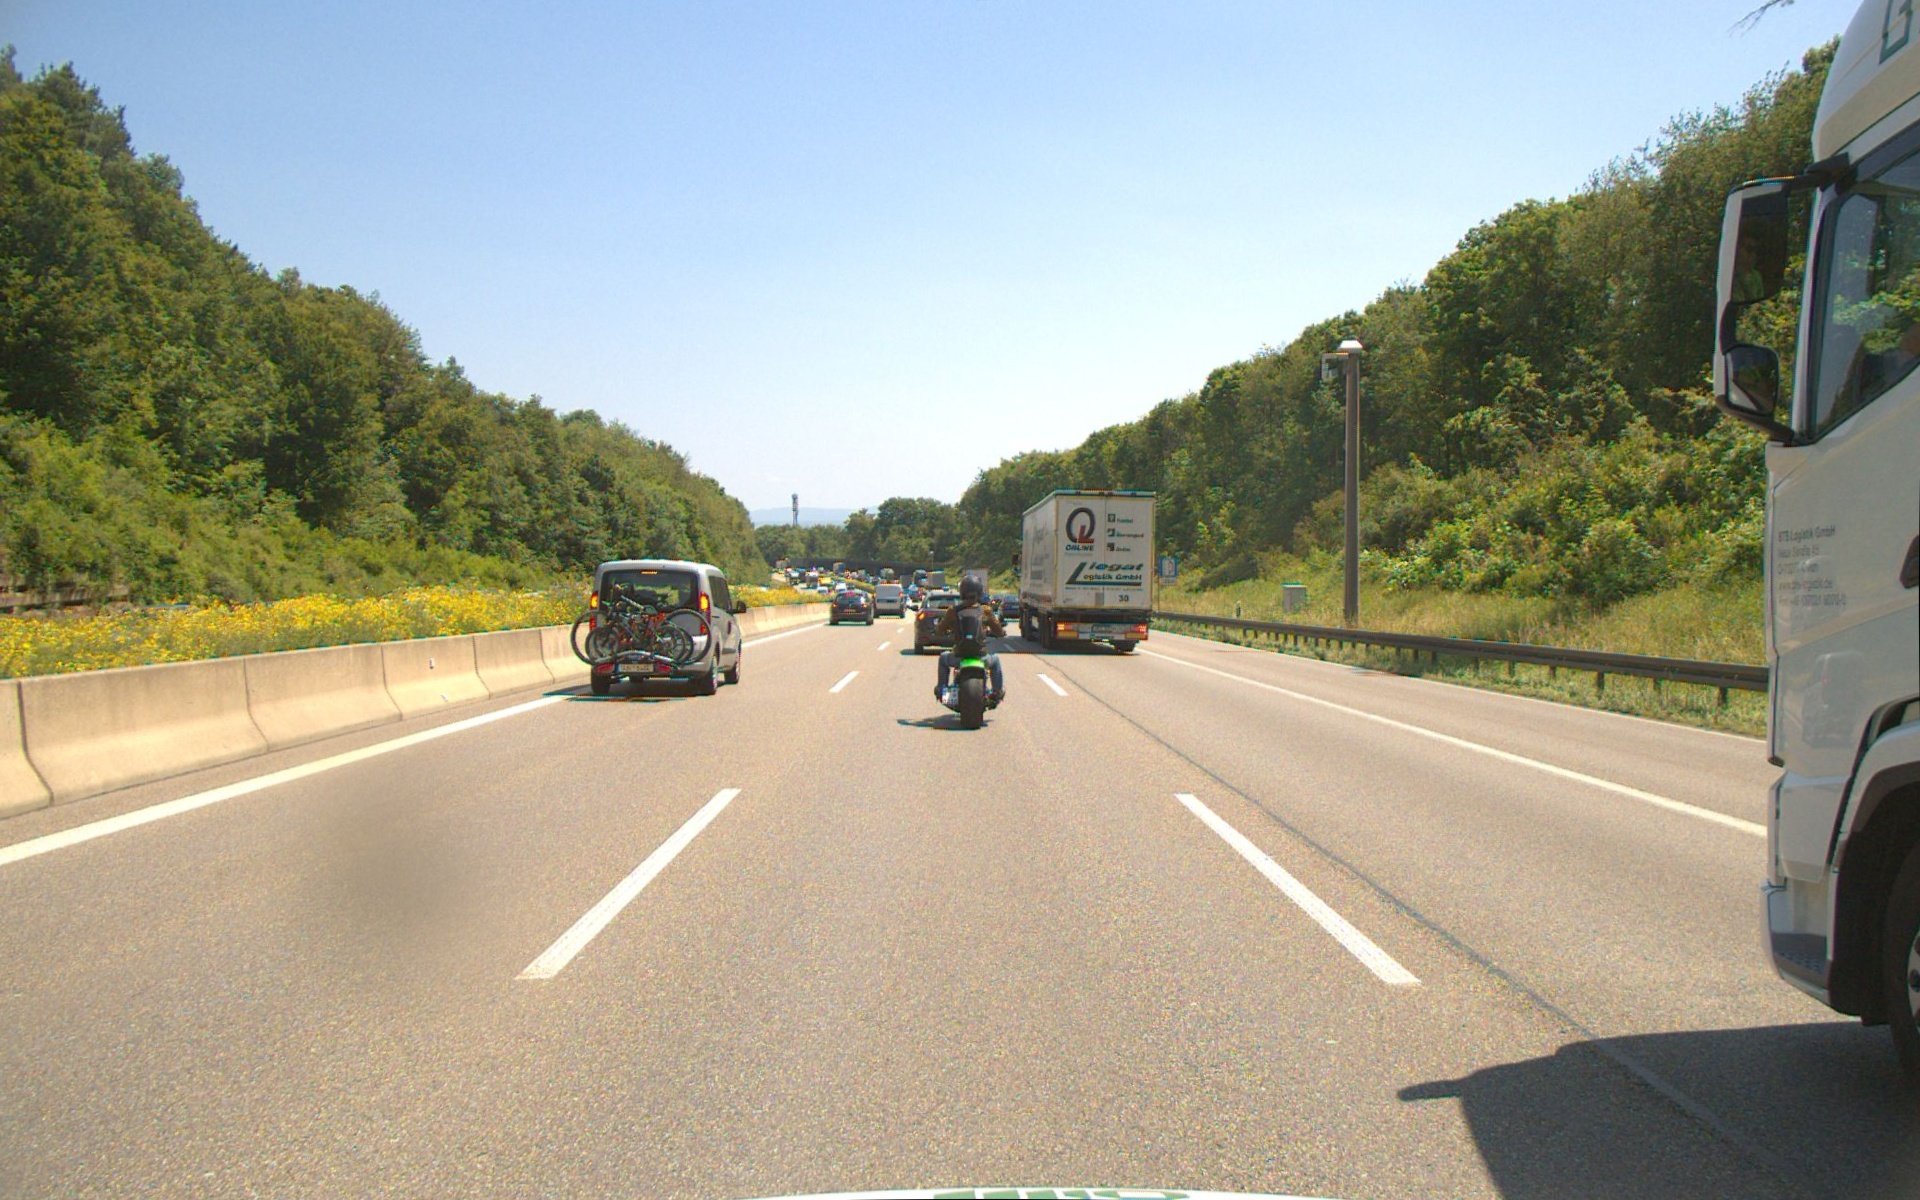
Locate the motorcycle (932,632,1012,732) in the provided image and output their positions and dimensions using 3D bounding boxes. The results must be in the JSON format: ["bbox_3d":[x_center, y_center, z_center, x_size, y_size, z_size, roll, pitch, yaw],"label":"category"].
[{"bbox_3d":[0.135,0.895,18.735,0.844,0.999,2.131,1,1,0],"label":"motorcycle"}]

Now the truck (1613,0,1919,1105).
[{"bbox_3d":[3.992,-0.592,1.290,2.625,4.130,10.625,1,1,0],"label":"truck"}]

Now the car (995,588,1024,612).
[{"bbox_3d":[3.442,-0.016,115.795,1.794,1.585,4.119,1,2,-1],"label":"car"}]

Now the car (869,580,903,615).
[{"bbox_3d":[-4.186,-0.178,94.126,1.794,1.842,4.119,1,1,-1],"label":"car"}]

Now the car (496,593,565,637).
[{"bbox_3d":[-18.785,0.653,72.496,1.773,1.839,4.501,2,0,0],"label":"car"}]

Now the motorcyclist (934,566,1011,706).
[{"bbox_3d":[0.136,0.390,18.697,0.838,1.541,0.914,1,0,0],"label":"motorcyclist"}]

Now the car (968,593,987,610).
[{"bbox_3d":[1.755,0.164,165.469,1.794,1.585,4.119,1,2,-1],"label":"car"}]

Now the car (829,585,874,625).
[{"bbox_3d":[-4.690,0.171,71.758,1.722,1.570,4.395,1,2,-1],"label":"car"}]

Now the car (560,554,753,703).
[{"bbox_3d":[-4.238,0.329,23.984,1.860,1.880,5.482,1,1,-1],"label":"car"}]

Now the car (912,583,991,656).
[{"bbox_3d":[-0.227,0.429,40.656,1.808,1.584,4.439,1,2,-1],"label":"car"}]

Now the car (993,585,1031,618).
[{"bbox_3d":[2.700,0.078,86.781,1.794,1.585,4.119,1,2,-1],"label":"car"}]

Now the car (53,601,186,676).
[{"bbox_3d":[-18.666,0.831,36.868,1.410,1.548,3.152,-1,0,-2],"label":"car"}]

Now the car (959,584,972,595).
[{"bbox_3d":[0.767,-1.550,242.734,1.794,1.585,4.119,1,2,-1],"label":"car"}]

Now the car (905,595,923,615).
[{"bbox_3d":[-4.634,0.470,166.694,1.794,1.842,4.119,1,1,-1],"label":"car"}]

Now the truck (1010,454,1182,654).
[{"bbox_3d":[3.621,-1.321,49.578,3.314,4.799,17.707,2,1,-1],"label":"truck"}]

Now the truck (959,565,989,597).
[{"bbox_3d":[1.529,-2.156,187.425,3.005,3.404,9.651,2,1,-1],"label":"truck"}]
